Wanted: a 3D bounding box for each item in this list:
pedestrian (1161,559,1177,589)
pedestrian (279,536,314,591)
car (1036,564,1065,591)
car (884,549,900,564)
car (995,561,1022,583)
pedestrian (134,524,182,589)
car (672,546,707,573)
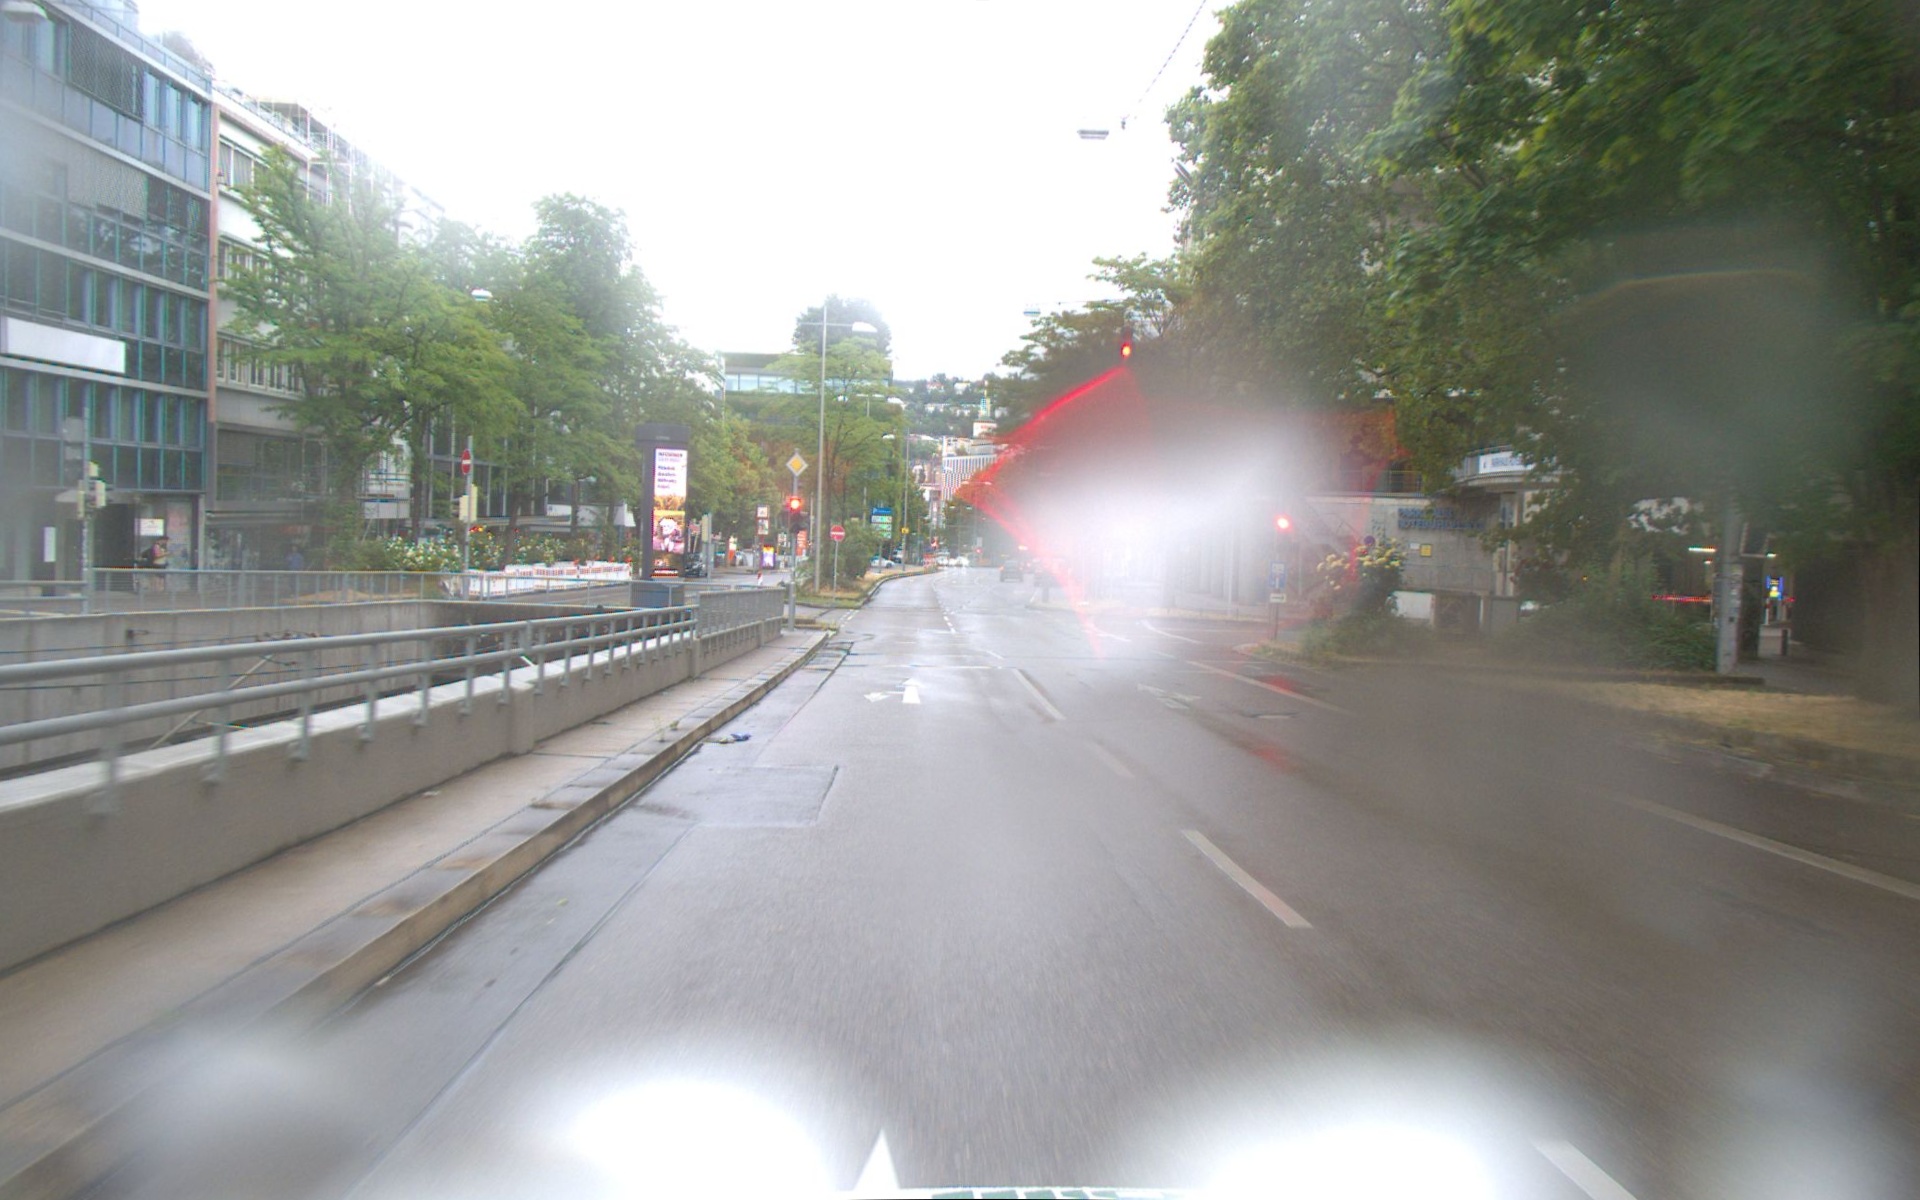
[{"bbox_3d":[11.511,-1.430,91.046,0.770,1.584,0.533,3,0,2],"label":"pedestrian"},{"bbox_3d":[-23.618,-1.294,58.870,0.859,1.900,0.866,3,1,-4],"label":"pedestrian"},{"bbox_3d":[6.030,-1.489,110.329,1.862,1.713,3.912,3,1,2],"label":"car"},{"bbox_3d":[-10.499,-6.672,254.587,2.084,2.202,5.198,3,1,1],"label":"car"},{"bbox_3d":[3.696,-2.141,126.460,1.711,1.545,4.106,3,1,-2],"label":"car"},{"bbox_3d":[-24.483,-1.323,50.508,0.846,1.900,0.960,3,1,17],"label":"pedestrian"},{"bbox_3d":[-17.917,-2.678,109.578,1.745,1.582,3.893,3,3,-2],"label":"car"}]
